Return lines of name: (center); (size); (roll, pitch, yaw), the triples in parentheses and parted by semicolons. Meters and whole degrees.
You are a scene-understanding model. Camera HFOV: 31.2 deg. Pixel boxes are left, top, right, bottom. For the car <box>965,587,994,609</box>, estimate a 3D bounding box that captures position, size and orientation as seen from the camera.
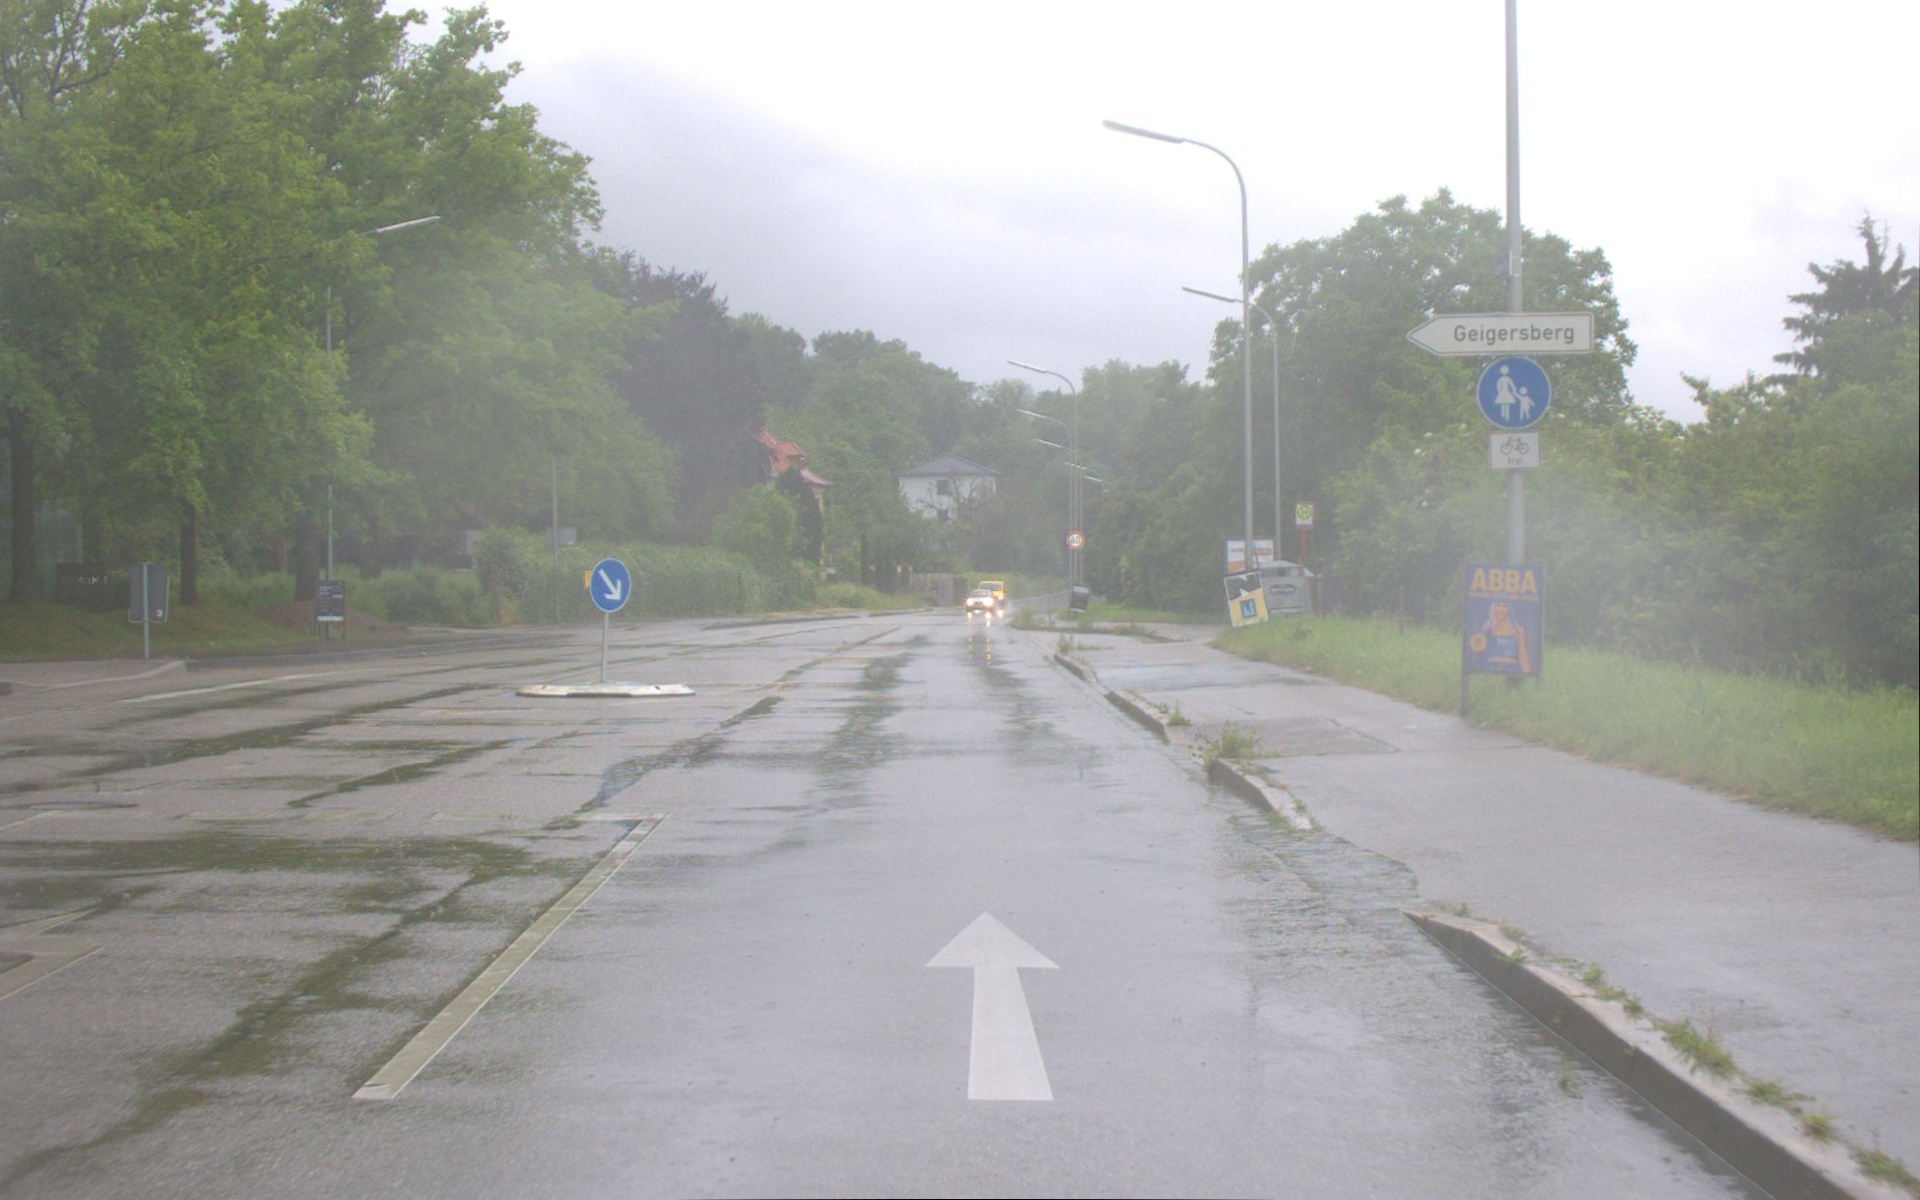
car: (1.221, -0.132, 211.056); (1.702, 1.345, 3.905); (0, 0, 1)
